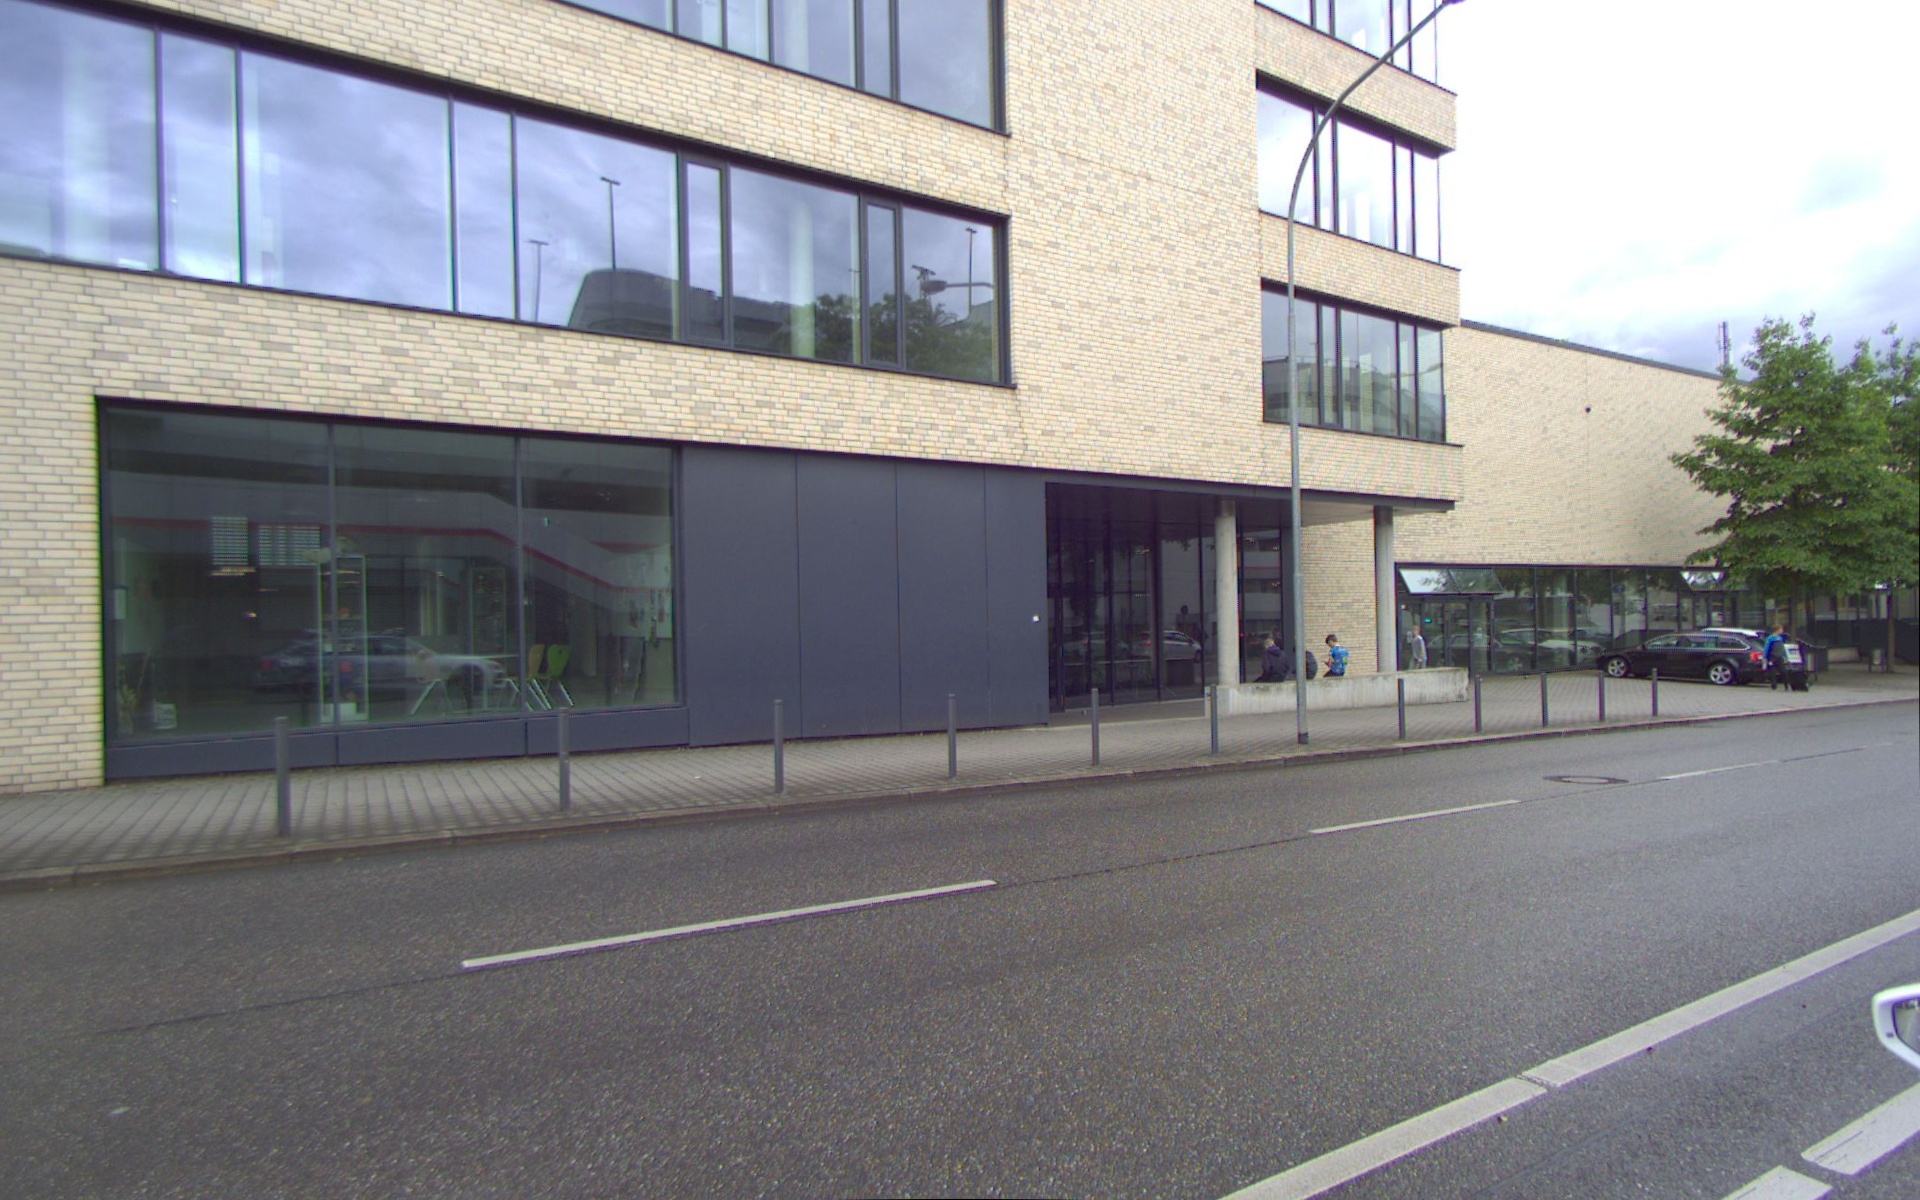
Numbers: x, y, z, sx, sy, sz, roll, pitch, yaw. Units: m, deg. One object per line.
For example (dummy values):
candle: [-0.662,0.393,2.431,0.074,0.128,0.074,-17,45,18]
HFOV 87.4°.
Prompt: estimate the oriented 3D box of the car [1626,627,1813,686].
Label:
car: [23.396,1.701,31.104,1.975,1.568,4.159,2,0,-28]

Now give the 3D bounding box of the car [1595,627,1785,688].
car: [21.527,1.638,29.755,1.981,1.515,4.147,2,0,-36]

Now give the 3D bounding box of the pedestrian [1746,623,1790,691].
pedestrian: [21.351,1.503,26.547,0.696,1.737,0.632,2,0,-27]

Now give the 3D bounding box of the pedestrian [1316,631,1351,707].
pedestrian: [7.516,1.371,20.201,0.459,1.495,0.446,2,0,-35]

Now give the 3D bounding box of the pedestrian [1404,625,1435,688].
pedestrian: [11.269,1.377,24.638,0.523,1.495,0.438,2,0,-35]

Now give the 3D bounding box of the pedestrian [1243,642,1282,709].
pedestrian: [5.721,1.422,19.022,0.416,1.231,0.546,2,0,-27]

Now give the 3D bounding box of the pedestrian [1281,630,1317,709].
pedestrian: [6.588,1.340,19.510,0.459,1.495,0.446,2,0,-35]
